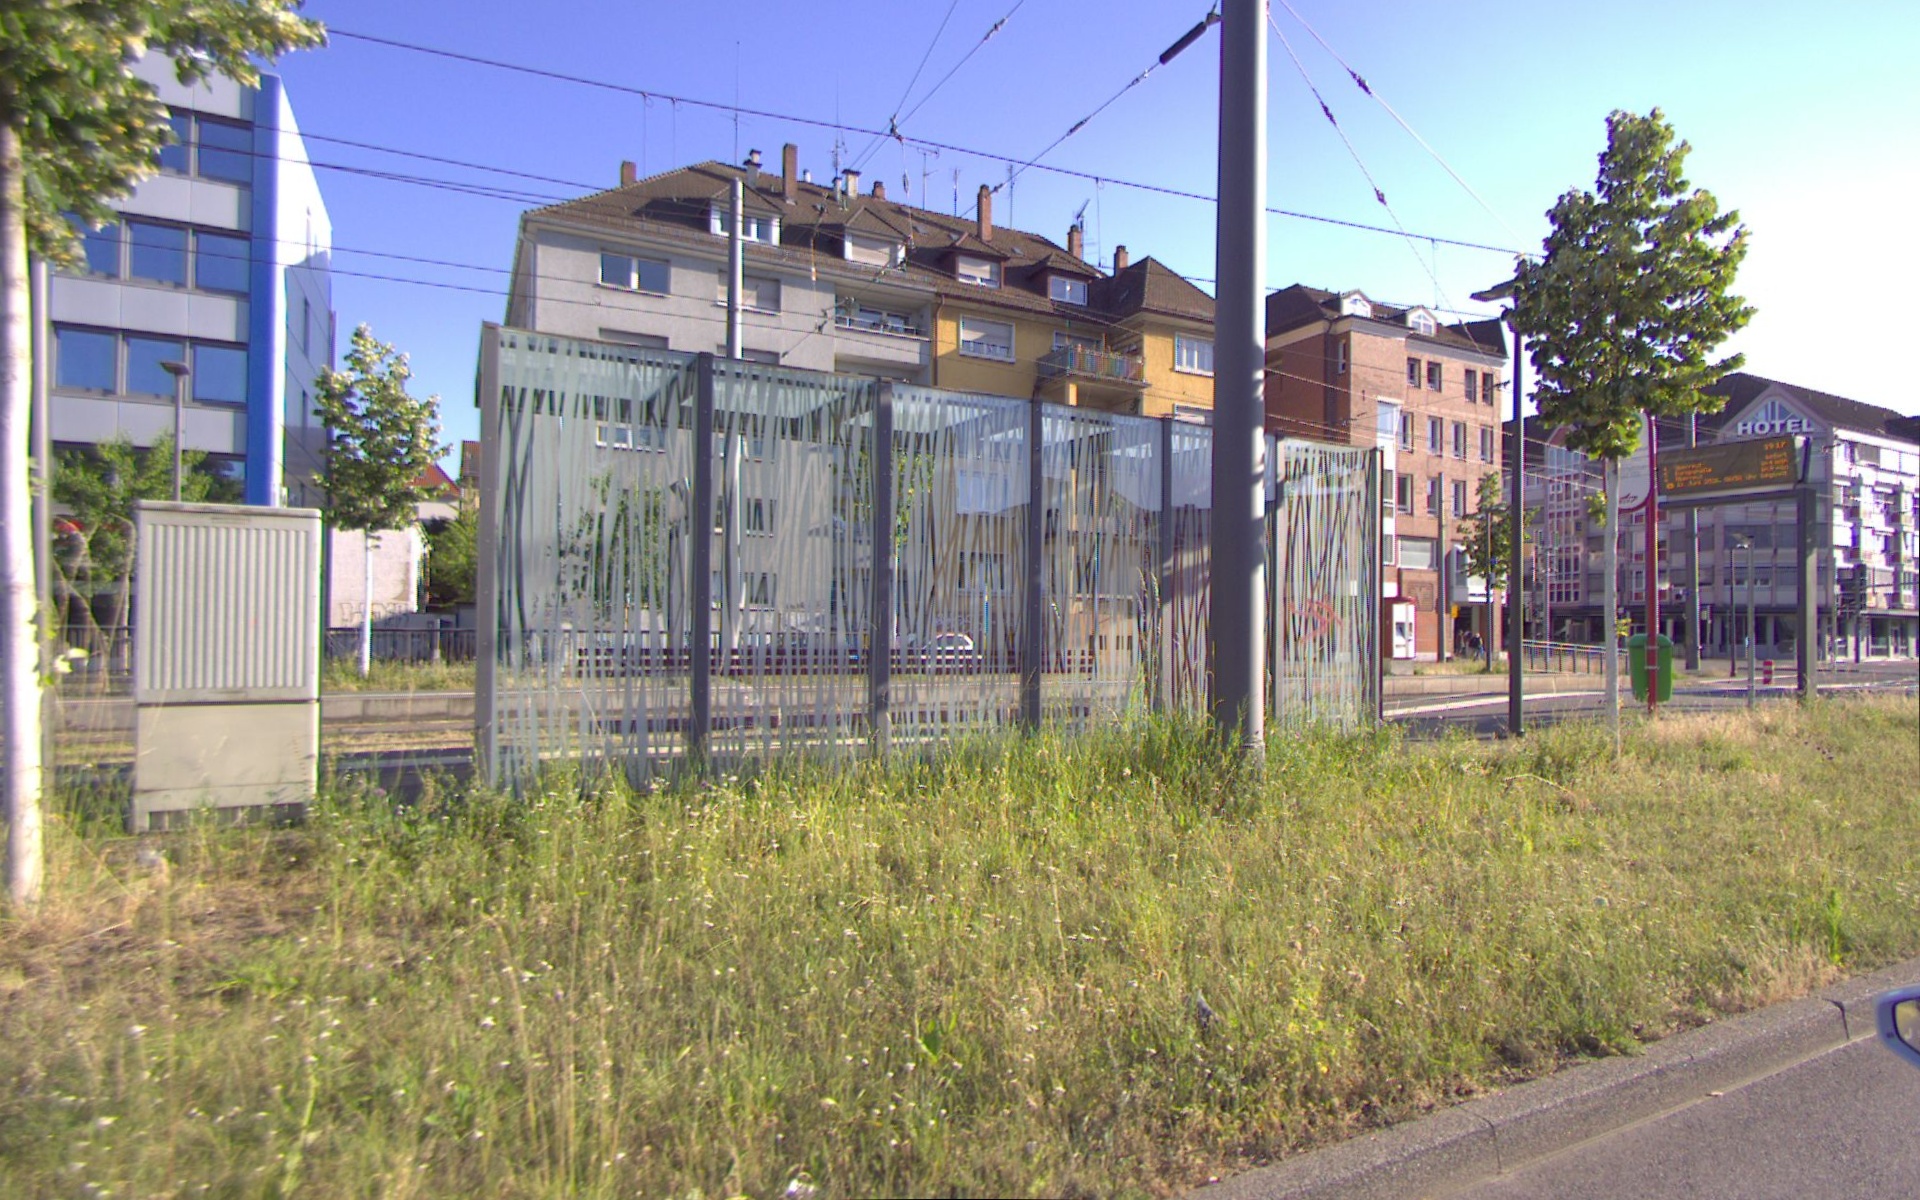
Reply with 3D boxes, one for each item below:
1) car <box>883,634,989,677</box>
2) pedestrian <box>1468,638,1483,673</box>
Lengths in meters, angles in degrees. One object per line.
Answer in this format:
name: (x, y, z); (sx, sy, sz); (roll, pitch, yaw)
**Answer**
car: (-0.871, 1.993, 36.613); (3.509, 1.505, 1.740); (1, -2, -28)
pedestrian: (27.427, 2.948, 53.483); (0.532, 1.831, 0.502); (0, -2, 0)
